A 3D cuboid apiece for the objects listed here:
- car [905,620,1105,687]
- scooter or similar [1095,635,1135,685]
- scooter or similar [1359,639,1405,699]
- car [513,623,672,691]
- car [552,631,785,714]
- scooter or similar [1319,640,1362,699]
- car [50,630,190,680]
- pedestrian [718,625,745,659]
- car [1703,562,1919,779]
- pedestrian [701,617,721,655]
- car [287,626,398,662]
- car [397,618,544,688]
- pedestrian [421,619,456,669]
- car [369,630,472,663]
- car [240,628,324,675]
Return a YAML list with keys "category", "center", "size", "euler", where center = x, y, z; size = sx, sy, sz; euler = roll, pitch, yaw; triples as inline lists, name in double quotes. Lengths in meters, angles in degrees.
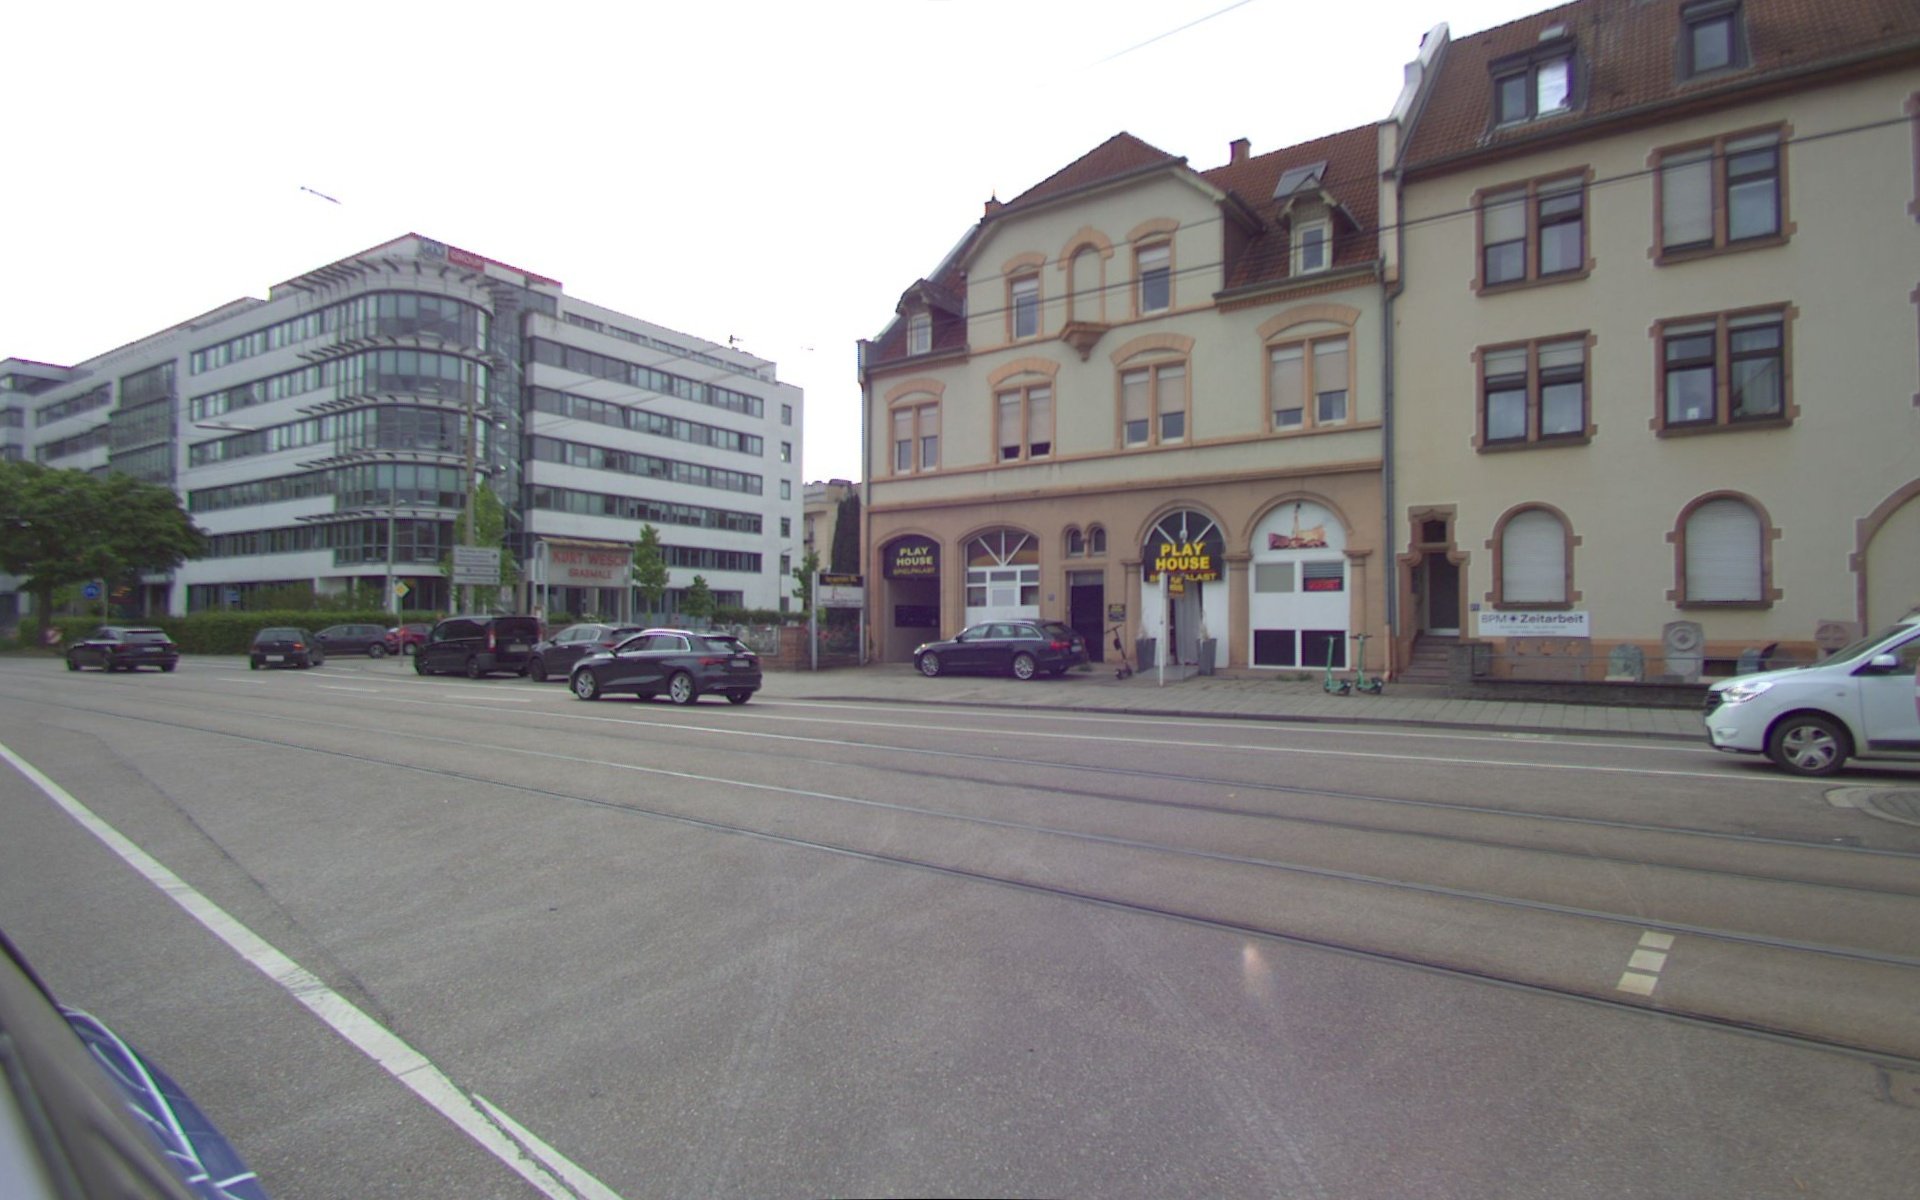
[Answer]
- category: "car"
  center: [1.093, 1.304, 26.105]
  size: [4.893, 1.504, 1.976]
  euler: [-1, 0, 36]
- category: "scooter or similar"
  center: [3.771, 1.446, 24.571]
  size: [0.526, 1.110, 1.165]
  euler: [-1, 1, 32]
- category: "scooter or similar"
  center: [8.366, 1.348, 20.086]
  size: [0.521, 1.110, 1.175]
  euler: [0, -1, 7]
- category: "car"
  center: [-10.603, 1.596, 29.092]
  size: [4.522, 1.762, 2.020]
  euler: [-2, -1, 34]
- category: "car"
  center: [-5.804, 1.374, 20.055]
  size: [4.405, 1.439, 1.869]
  euler: [-1, -3, 29]
- category: "scooter or similar"
  center: [7.577, 1.367, 20.193]
  size: [0.521, 1.110, 1.175]
  euler: [0, -1, 7]
- category: "car"
  center: [-26.979, 1.724, 32.472]
  size: [4.800, 1.484, 1.891]
  euler: [-1, -3, 30]
- category: "pedestrian"
  center: [-13.982, 2.575, 61.939]
  size: [1.180, 2.029, 1.208]
  euler: [-1, -2, 21]
- category: "car"
  center: [10.018, 0.675, 9.740]
  size: [4.514, 2.004, 1.868]
  euler: [-1, -3, 35]
- category: "pedestrian"
  center: [-11.804, 1.706, 47.954]
  size: [0.761, 1.787, 0.628]
  euler: [-1, -1, 39]
- category: "car"
  center: [-26.355, 1.865, 43.229]
  size: [3.921, 1.462, 1.821]
  euler: [2, -2, -35]
- category: "car"
  center: [-15.608, 1.593, 32.166]
  size: [5.173, 2.029, 1.970]
  euler: [-1, 0, 35]
- category: "pedestrian"
  center: [-19.815, 1.653, 38.435]
  size: [1.057, 1.839, 0.796]
  euler: [-1, -1, 37]
- category: "car"
  center: [-25.329, 2.173, 47.621]
  size: [1.721, 1.433, 3.973]
  euler: [-3, -3, 33]
- category: "car"
  center: [-23.761, 1.805, 35.587]
  size: [1.765, 1.542, 4.154]
  euler: [3, -3, -25]
